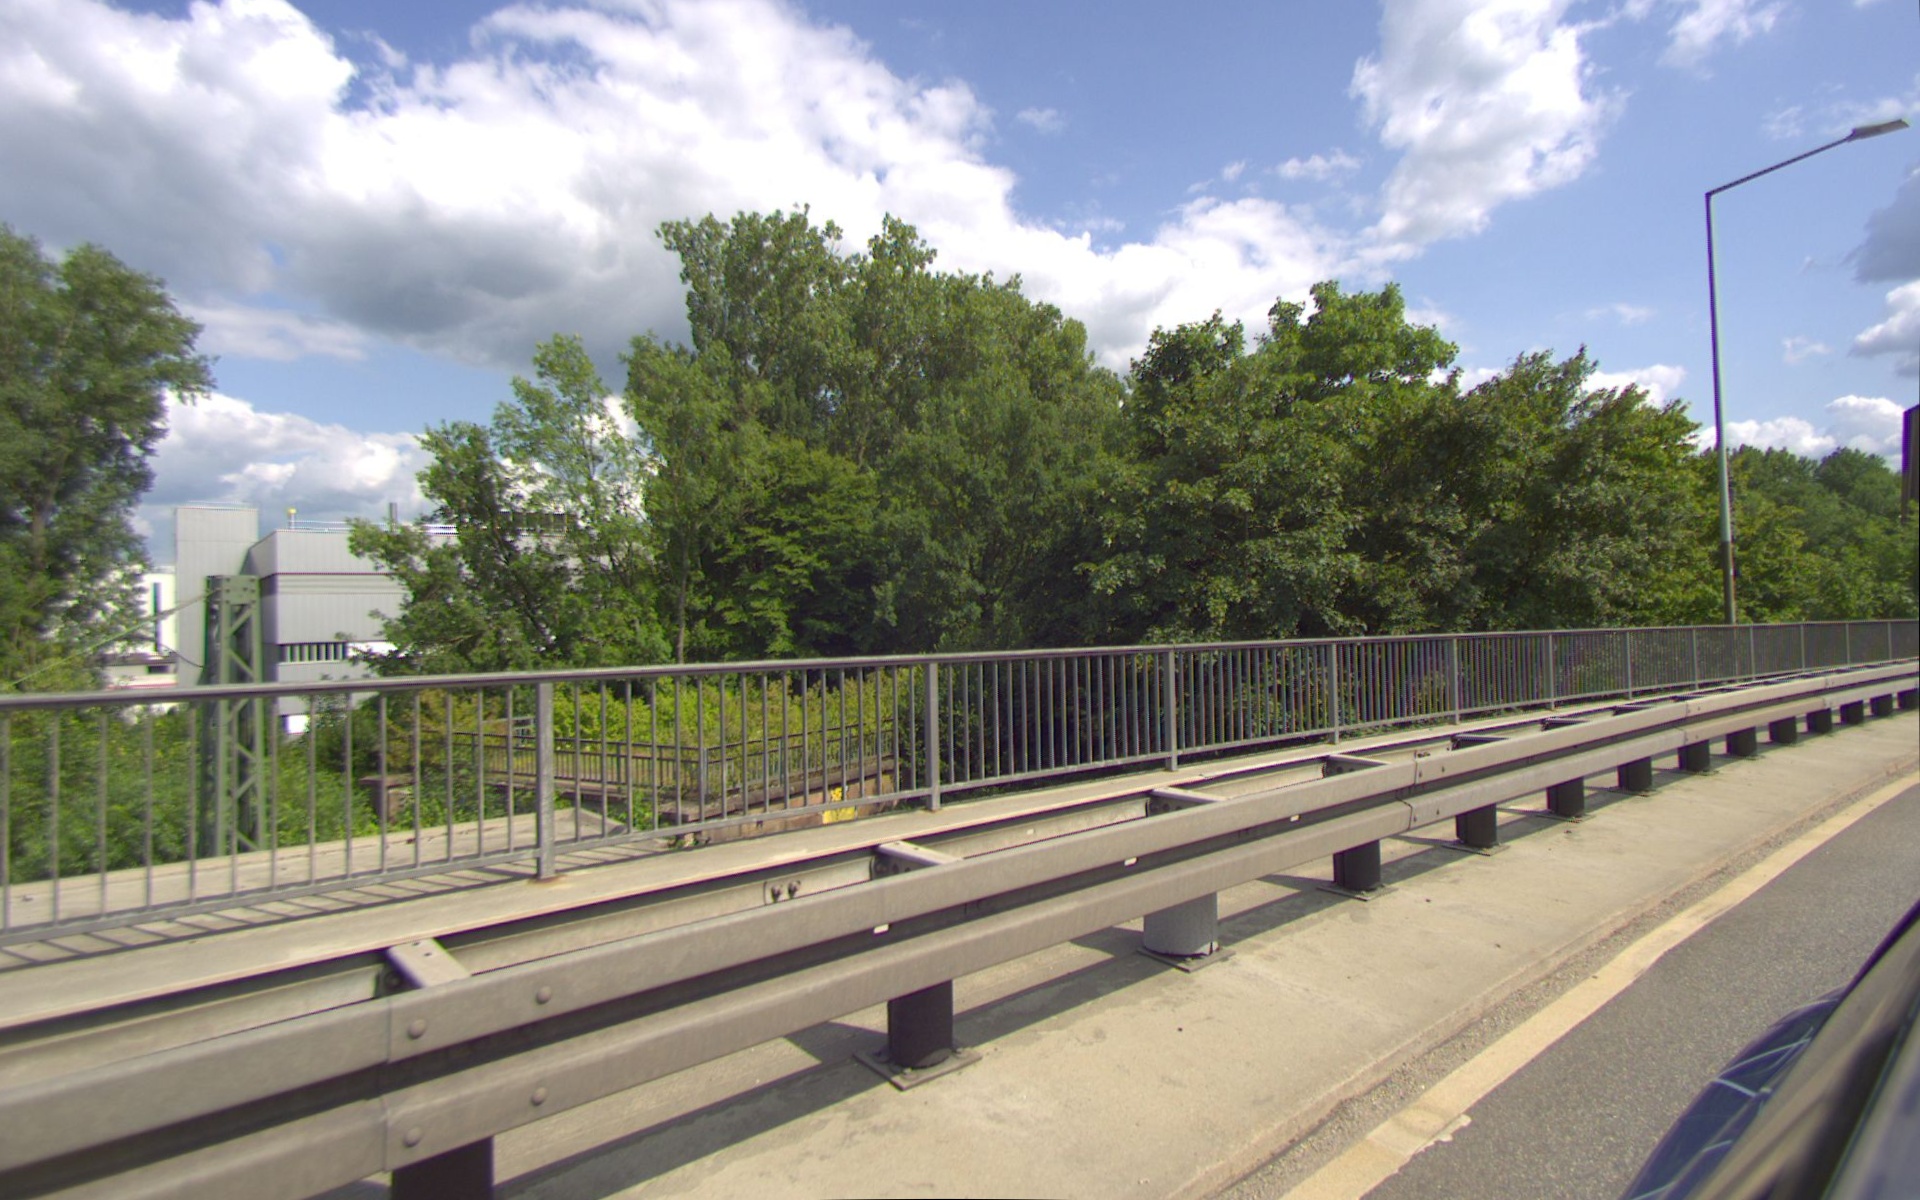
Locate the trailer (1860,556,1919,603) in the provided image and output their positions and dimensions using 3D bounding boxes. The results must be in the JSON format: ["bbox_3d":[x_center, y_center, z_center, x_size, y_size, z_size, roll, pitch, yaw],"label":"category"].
[{"bbox_3d":[83.196,-1.786,84.873,2.722,3.899,12.341,0,-1,-12],"label":"trailer"}]
